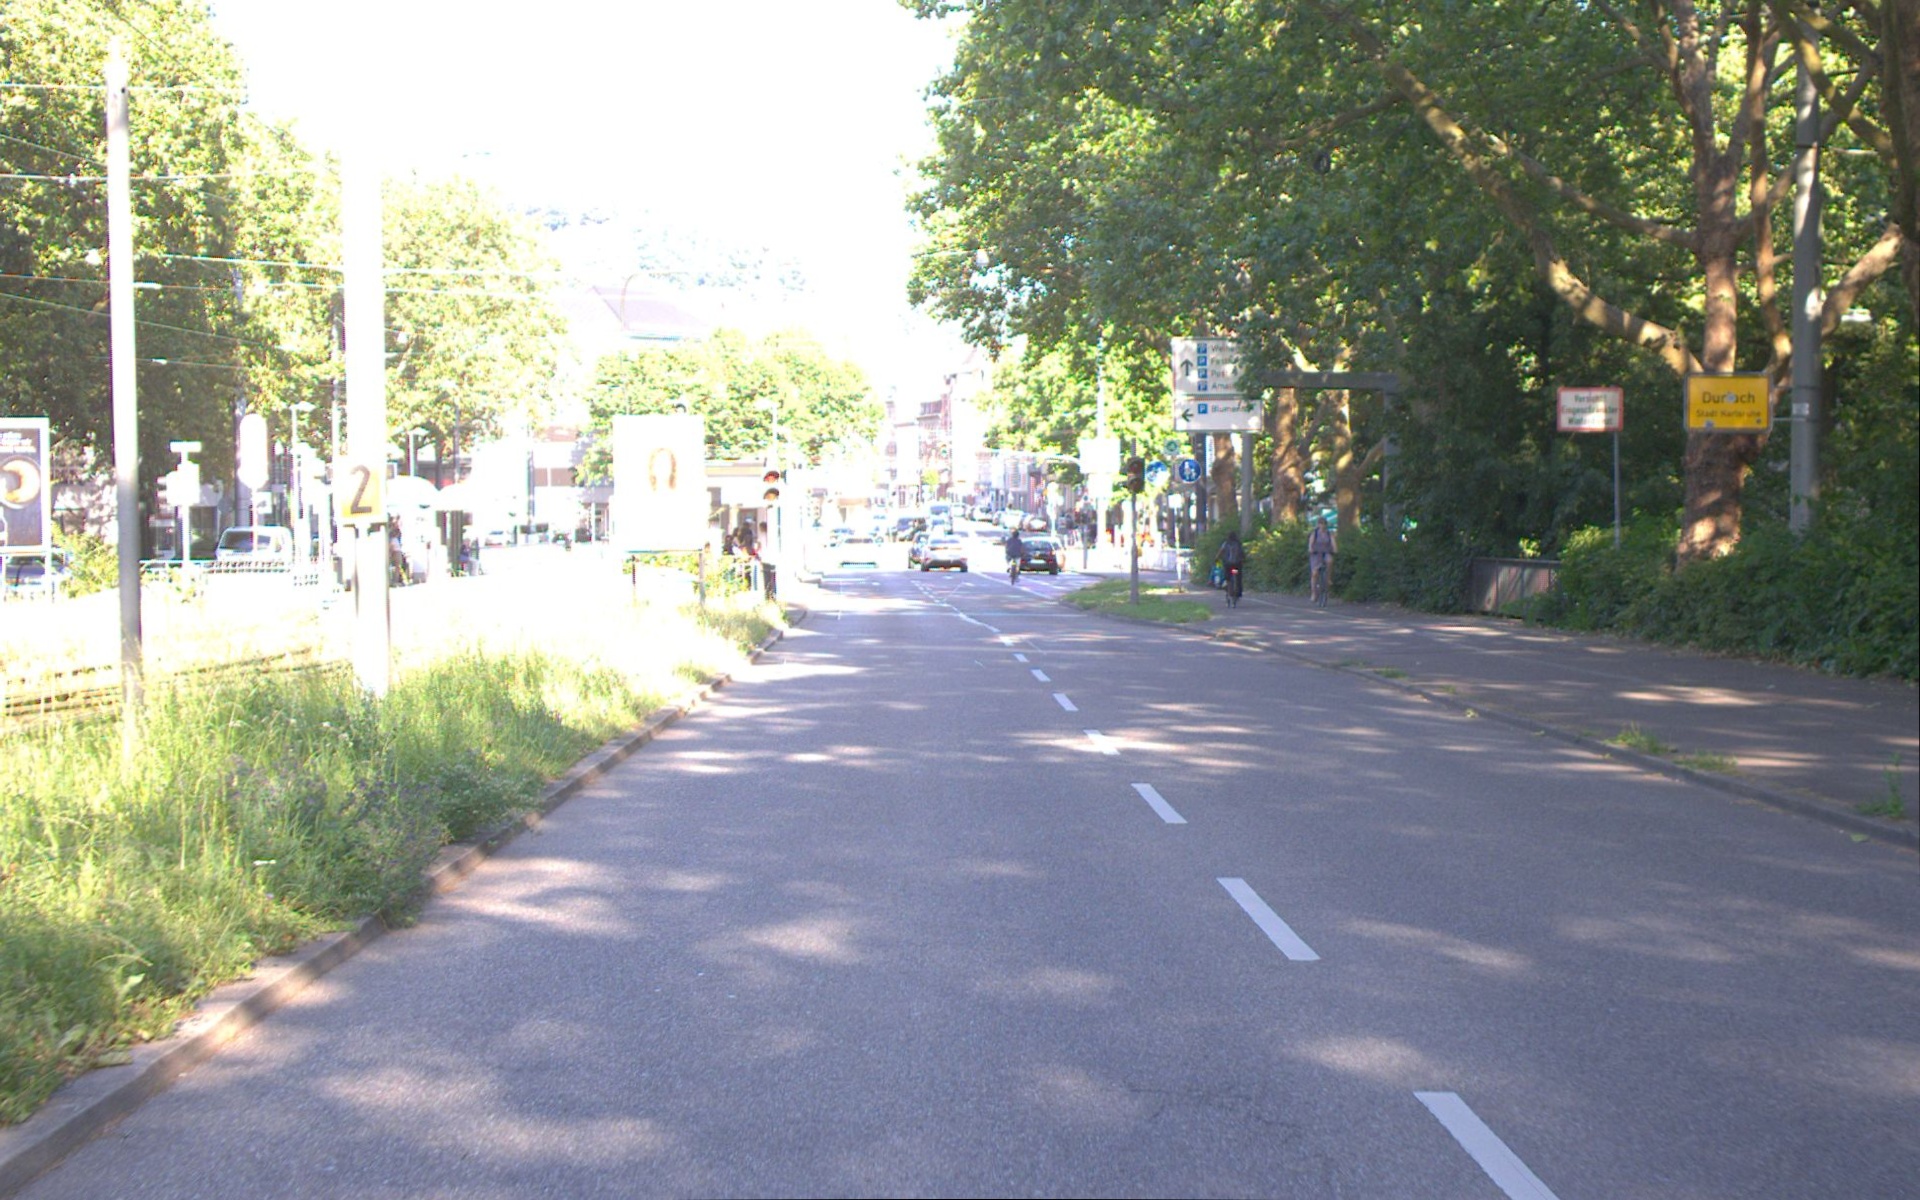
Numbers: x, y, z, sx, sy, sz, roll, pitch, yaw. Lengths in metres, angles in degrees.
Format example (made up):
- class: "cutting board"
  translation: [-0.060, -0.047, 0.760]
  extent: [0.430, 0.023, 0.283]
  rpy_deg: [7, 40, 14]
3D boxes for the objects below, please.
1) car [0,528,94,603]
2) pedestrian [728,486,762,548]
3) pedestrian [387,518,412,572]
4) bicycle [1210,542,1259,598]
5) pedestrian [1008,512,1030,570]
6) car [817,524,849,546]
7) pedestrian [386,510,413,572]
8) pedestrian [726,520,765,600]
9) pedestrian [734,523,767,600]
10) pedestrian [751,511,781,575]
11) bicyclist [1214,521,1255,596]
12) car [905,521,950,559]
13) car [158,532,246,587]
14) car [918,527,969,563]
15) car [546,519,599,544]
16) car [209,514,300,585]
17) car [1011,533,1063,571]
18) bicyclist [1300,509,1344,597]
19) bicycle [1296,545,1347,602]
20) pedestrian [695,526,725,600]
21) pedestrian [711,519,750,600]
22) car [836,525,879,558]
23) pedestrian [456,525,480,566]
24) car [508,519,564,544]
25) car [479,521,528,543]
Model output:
- class: "car"
  translation: [-21.313, -0.793, 79.345]
  extent: [1.902, 1.646, 3.974]
  rpy_deg: [-2, 1, -5]
- class: "pedestrian"
  translation: [-6.026, -2.321, 96.315]
  extent: [0.651, 1.716, 0.710]
  rpy_deg: [1, 1, -37]
- class: "pedestrian"
  translation: [-16.006, -1.568, 98.199]
  extent: [0.592, 1.538, 0.627]
  rpy_deg: [1, 0, -1]
- class: "bicycle"
  translation: [5.574, -0.611, 69.868]
  extent: [0.766, 1.104, 1.800]
  rpy_deg: [0, 1, -2]
- class: "pedestrian"
  translation: [1.898, -1.916, 110.756]
  extent: [0.657, 1.864, 0.678]
  rpy_deg: [0, 1, -2]
- class: "car"
  translation: [-9.032, -4.634, 244.529]
  extent: [1.794, 1.505, 3.999]
  rpy_deg: [0, 1, 5]
- class: "pedestrian"
  translation: [-16.124, -1.690, 98.931]
  extent: [0.648, 1.766, 0.650]
  rpy_deg: [1, 0, 1]
- class: "pedestrian"
  translation: [-4.272, -0.802, 68.538]
  extent: [0.520, 1.563, 0.507]
  rpy_deg: [-2, 1, 28]
- class: "pedestrian"
  translation: [-4.212, -0.781, 69.196]
  extent: [0.589, 1.514, 0.514]
  rpy_deg: [-2, 1, -1]
- class: "pedestrian"
  translation: [-5.189, -1.520, 92.093]
  extent: [0.742, 1.688, 0.791]
  rpy_deg: [1, 1, -1]
- class: "bicyclist"
  translation: [5.576, -0.844, 69.865]
  extent: [0.766, 1.507, 0.650]
  rpy_deg: [0, 1, -2]
- class: "car"
  translation: [-1.430, -2.632, 150.145]
  extent: [1.800, 1.632, 4.046]
  rpy_deg: [0, 1, -3]
- class: "car"
  translation: [-21.951, -1.182, 99.680]
  extent: [1.794, 1.505, 4.342]
  rpy_deg: [-2, 1, -4]
- class: "car"
  translation: [-0.704, -2.301, 142.717]
  extent: [1.929, 1.467, 4.855]
  rpy_deg: [0, 1, -2]
- class: "car"
  translation: [-25.853, -4.603, 229.199]
  extent: [1.923, 1.643, 4.177]
  rpy_deg: [0, 1, 19]
- class: "car"
  translation: [-22.207, -1.593, 108.398]
  extent: [2.067, 2.117, 5.091]
  rpy_deg: [-2, 1, -4]
- class: "car"
  translation: [3.056, -1.953, 137.858]
  extent: [1.800, 1.434, 4.046]
  rpy_deg: [1, 1, -2]
- class: "bicyclist"
  translation: [7.180, -0.941, 68.301]
  extent: [0.699, 1.722, 1.080]
  rpy_deg: [0, 1, -3]
- class: "bicycle"
  translation: [7.179, -0.543, 68.307]
  extent: [0.699, 1.104, 1.930]
  rpy_deg: [0, 1, -3]
- class: "pedestrian"
  translation: [-5.086, -0.750, 69.833]
  extent: [0.520, 1.467, 0.514]
  rpy_deg: [-2, 1, -1]
- class: "pedestrian"
  translation: [-4.539, -0.803, 68.124]
  extent: [0.520, 1.563, 0.507]
  rpy_deg: [-2, 1, 28]
- class: "car"
  translation: [-4.552, -2.601, 151.889]
  extent: [1.808, 1.447, 4.001]
  rpy_deg: [1, 1, -3]
- class: "pedestrian"
  translation: [-16.428, -1.815, 114.761]
  extent: [0.669, 1.320, 0.757]
  rpy_deg: [-3, 1, -4]
- class: "car"
  translation: [-28.335, -4.605, 229.837]
  extent: [1.797, 1.643, 4.004]
  rpy_deg: [1, 2, 27]
- class: "car"
  translation: [-30.776, -4.602, 231.787]
  extent: [1.795, 1.505, 4.007]
  rpy_deg: [0, 1, 17]
